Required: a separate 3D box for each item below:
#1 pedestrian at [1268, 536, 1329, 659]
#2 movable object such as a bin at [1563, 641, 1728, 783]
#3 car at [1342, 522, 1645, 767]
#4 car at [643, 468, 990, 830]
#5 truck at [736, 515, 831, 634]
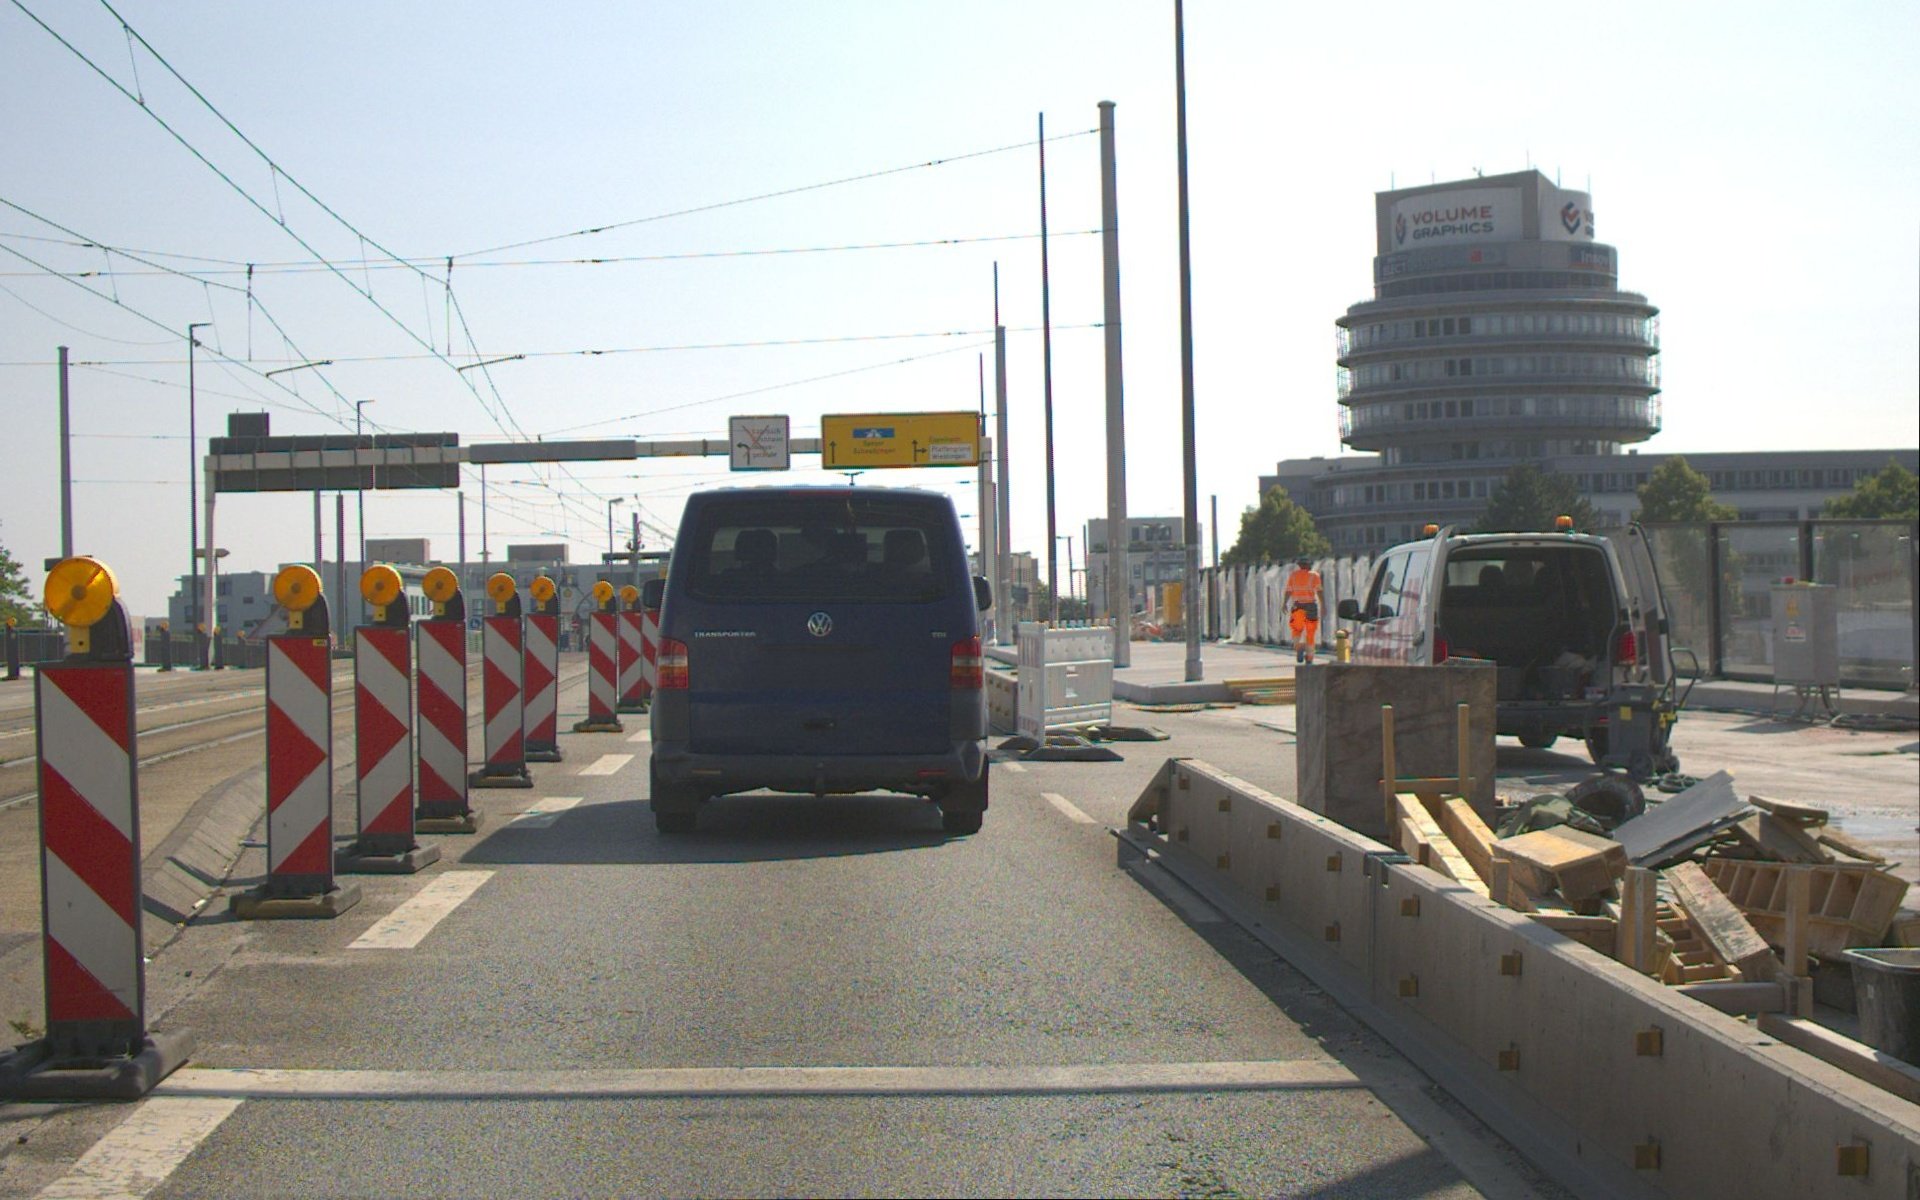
[{"bbox_3d":[5.390,-0.033,54.834,0.782,1.928,0.799,-2,-1,-2],"label":"pedestrian"},{"bbox_3d":[5.385,0.868,27.022,0.941,1.070,0.889,0,0,44],"label":"movable object such as a bin"},{"bbox_3d":[4.684,0.377,30.867,1.878,2.026,4.891,0,0,-1],"label":"car"},{"bbox_3d":[-0.805,0.239,20.373,1.815,1.899,4.055,-1,1,-1],"label":"car"},{"bbox_3d":[-4.942,-0.744,97.453,2.460,3.124,11.217,-1,1,-2],"label":"truck"}]
